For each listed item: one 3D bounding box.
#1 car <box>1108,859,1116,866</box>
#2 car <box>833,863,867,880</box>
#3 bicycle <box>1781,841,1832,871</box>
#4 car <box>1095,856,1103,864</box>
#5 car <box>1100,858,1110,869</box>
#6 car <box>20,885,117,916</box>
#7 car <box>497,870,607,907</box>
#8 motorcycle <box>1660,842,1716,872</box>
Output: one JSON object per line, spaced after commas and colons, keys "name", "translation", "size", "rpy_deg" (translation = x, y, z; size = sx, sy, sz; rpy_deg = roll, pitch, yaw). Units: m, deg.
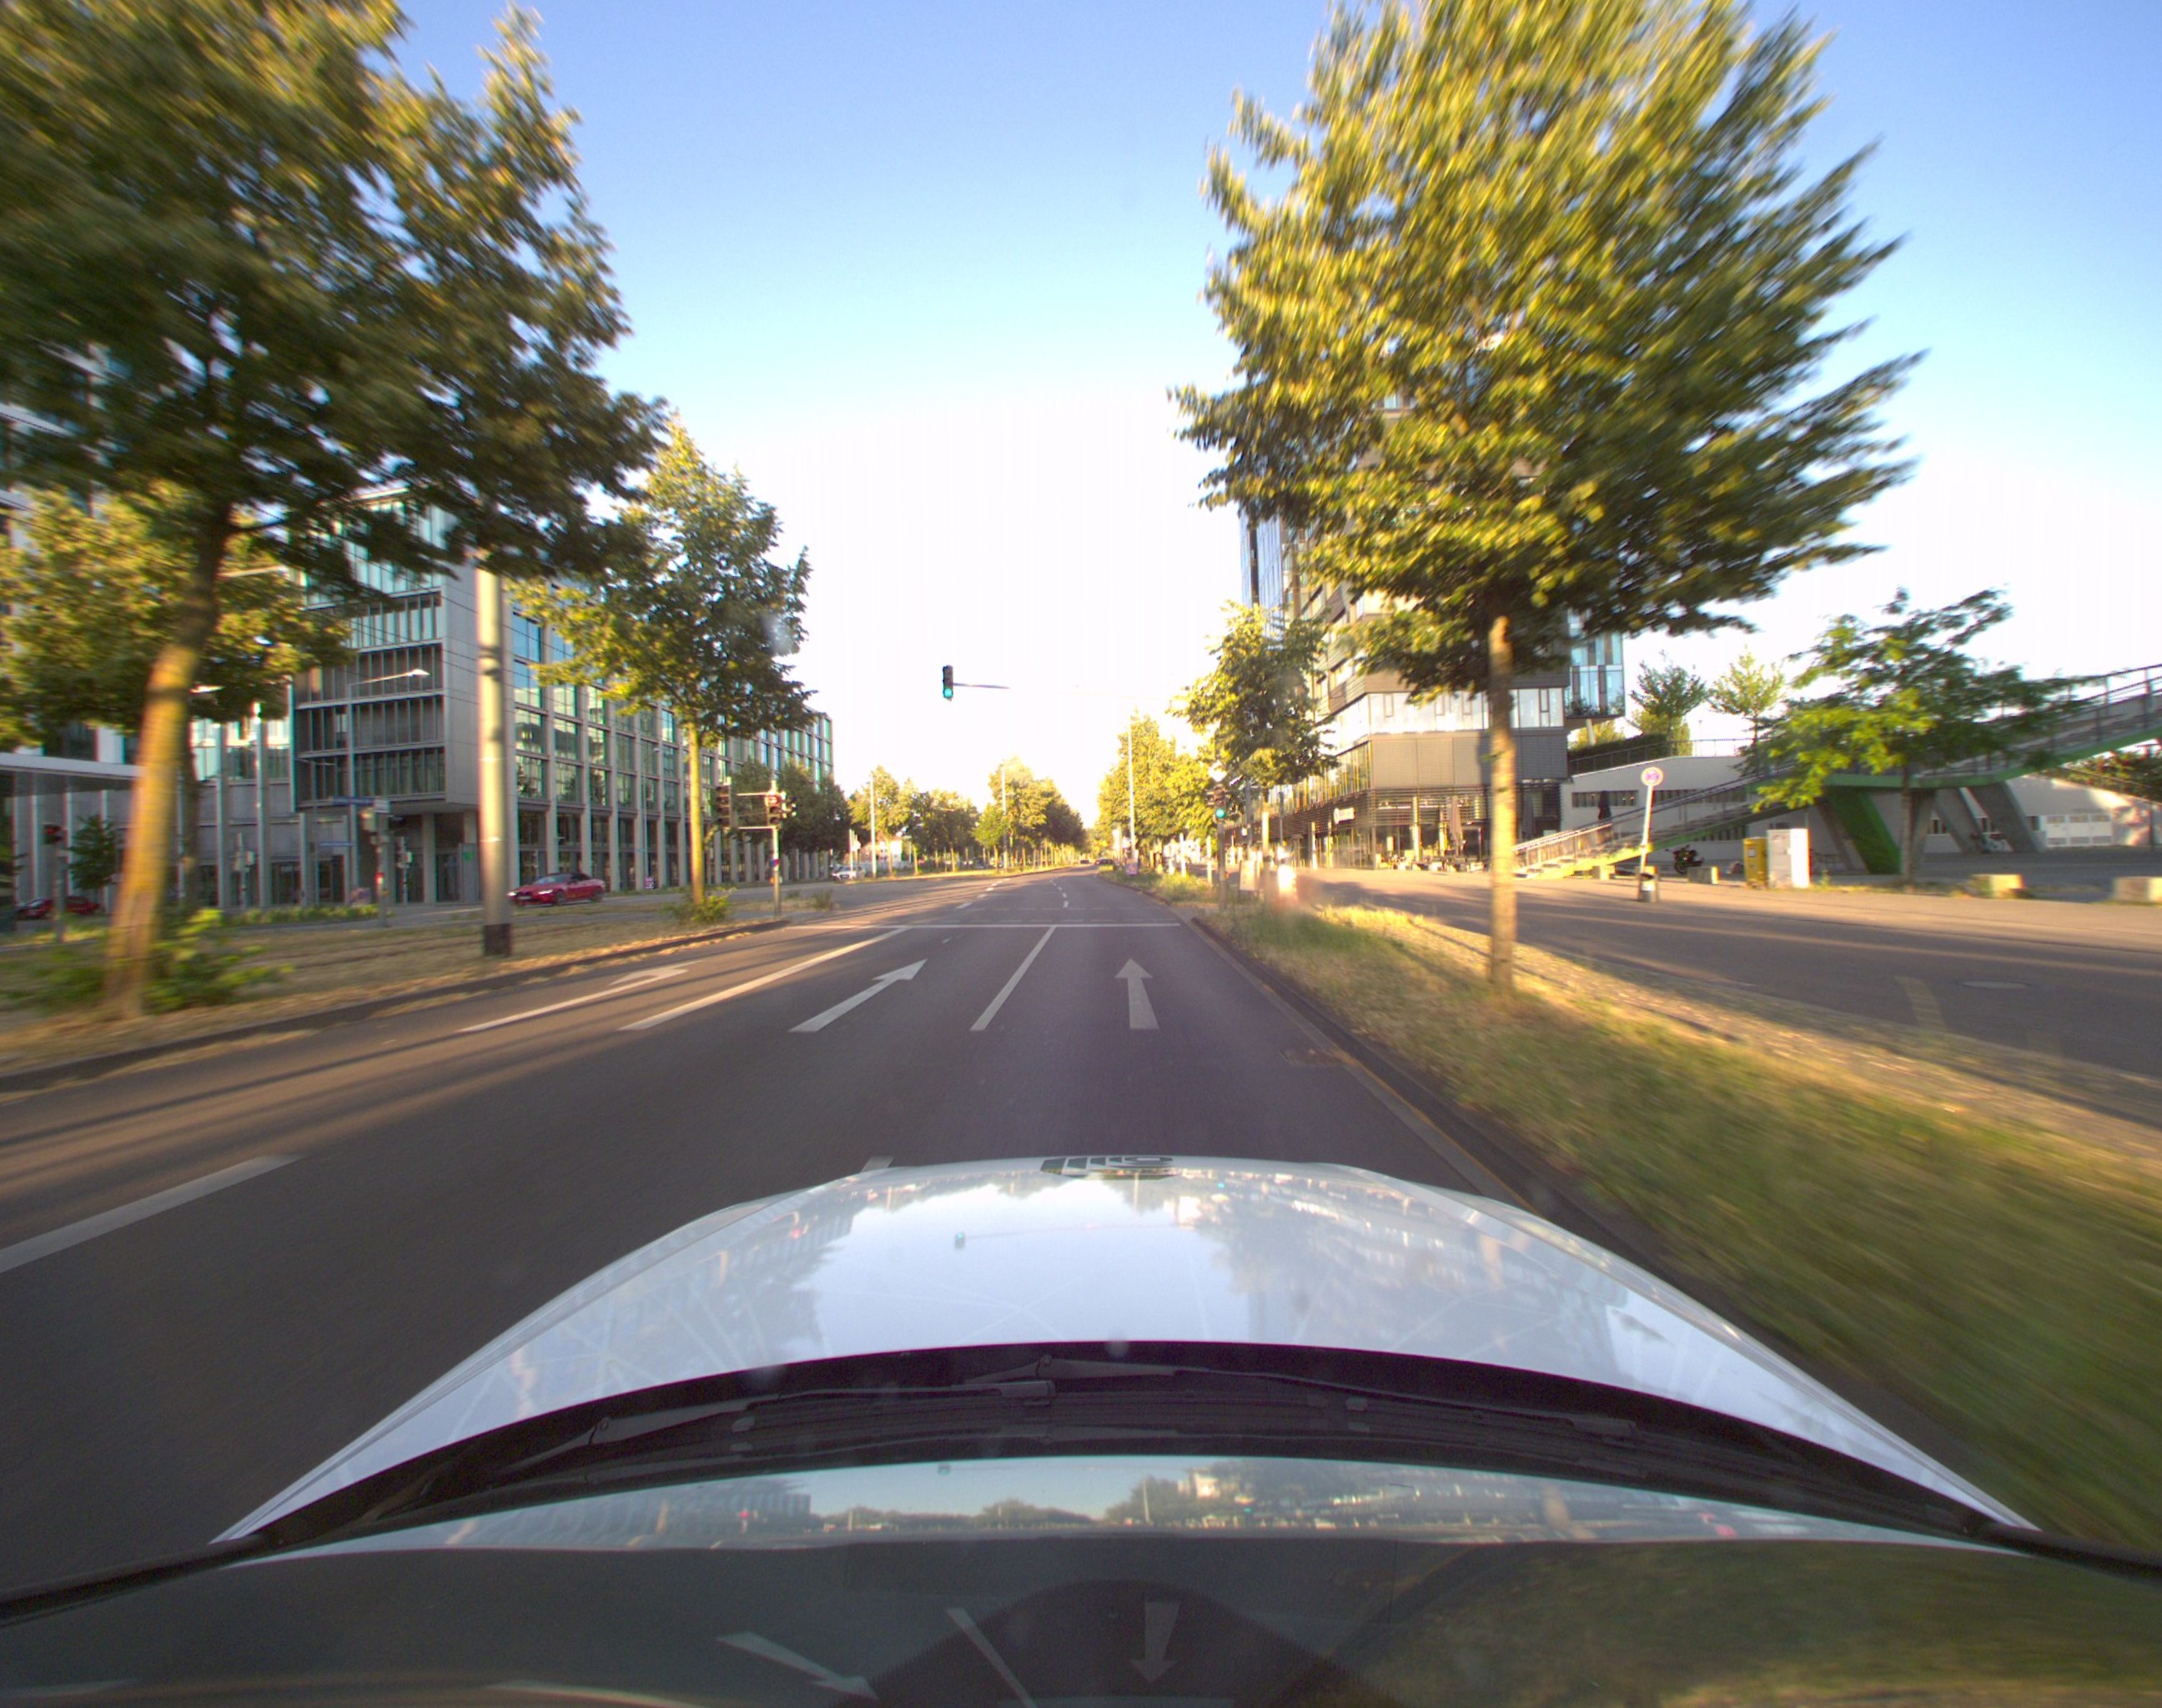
{"name": "car", "translation": [7.488, 2.084, 197.232], "size": [1.865, 1.574, 3.680], "rpy_deg": [-2, 0, 3]}
{"name": "car", "translation": [-19.853, 1.456, 70.072], "size": [1.781, 1.332, 3.671], "rpy_deg": [-2, 0, 0]}
{"name": "bicycle", "translation": [26.568, 0.059, 29.851], "size": [0.564, 1.052, 1.774], "rpy_deg": [-2, 0, 12]}
{"name": "car", "translation": [4.596, 1.607, 211.306], "size": [2.080, 2.013, 4.001], "rpy_deg": [-2, 0, 1]}
{"name": "car", "translation": [5.106, 1.956, 170.643], "size": [1.986, 2.013, 4.001], "rpy_deg": [-2, 0, 1]}
{"name": "car", "translation": [-75.278, 3.425, 60.646], "size": [1.979, 2.013, 4.016], "rpy_deg": [-2, 0, 15]}
{"name": "car", "translation": [-22.406, 1.428, 34.730], "size": [1.651, 1.332, 4.527], "rpy_deg": [-2, 0, 0]}
{"name": "motorcycle", "translation": [23.464, 0.097, 31.526], "size": [0.646, 1.094, 2.337], "rpy_deg": [-2, 0, 8]}
